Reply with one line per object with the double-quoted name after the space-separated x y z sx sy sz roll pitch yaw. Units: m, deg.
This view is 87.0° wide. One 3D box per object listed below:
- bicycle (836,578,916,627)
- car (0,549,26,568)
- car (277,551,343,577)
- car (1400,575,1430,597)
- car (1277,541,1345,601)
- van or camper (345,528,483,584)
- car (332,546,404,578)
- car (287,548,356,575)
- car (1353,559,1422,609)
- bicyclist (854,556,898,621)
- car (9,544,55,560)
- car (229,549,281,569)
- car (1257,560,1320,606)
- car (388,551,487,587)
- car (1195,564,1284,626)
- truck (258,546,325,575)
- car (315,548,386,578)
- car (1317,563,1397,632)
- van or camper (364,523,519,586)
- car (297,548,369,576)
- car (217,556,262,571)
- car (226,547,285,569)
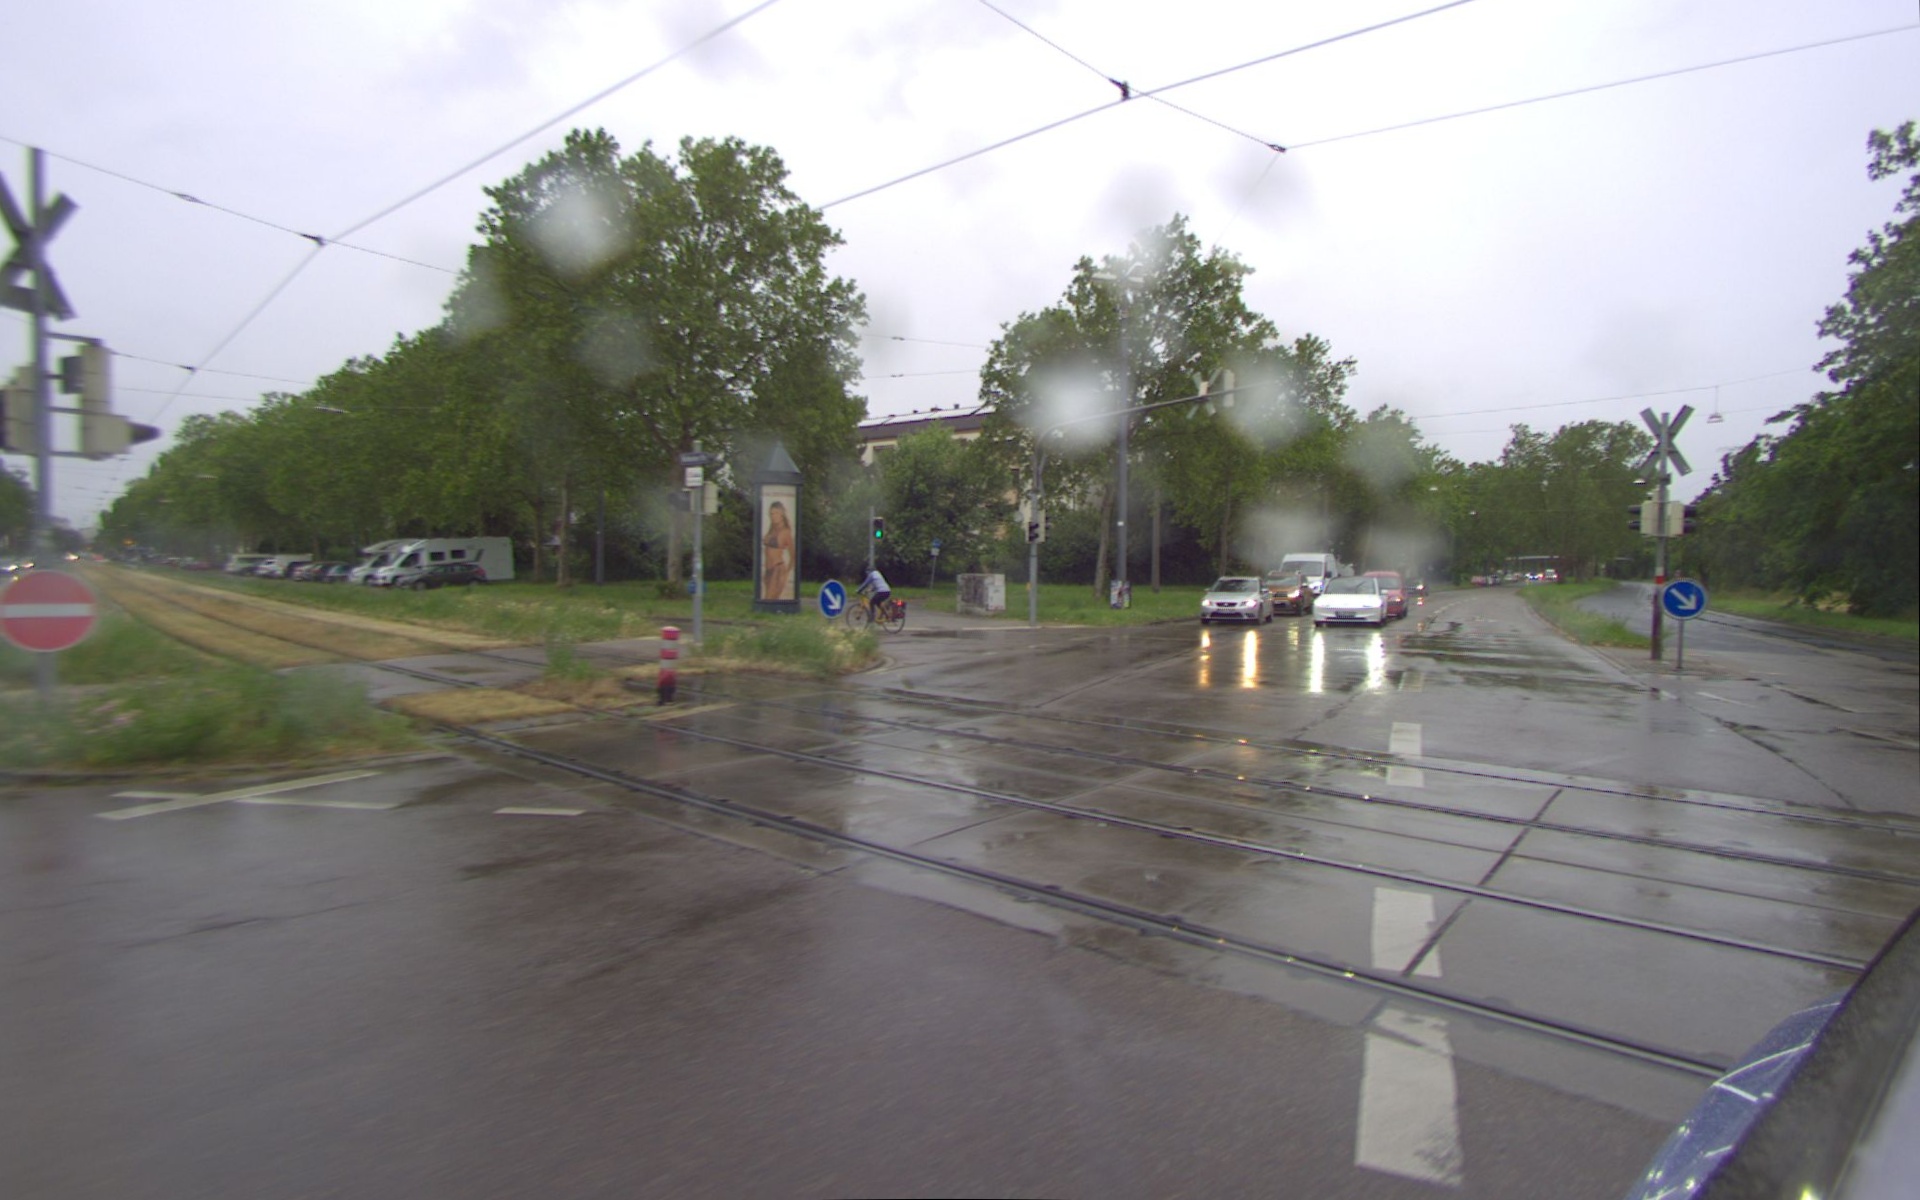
-2.031 0.039 24.508 1.868 1.131 0.686 1 1 29 "bicycle"
-84.039 -3.657 89.270 1.861 1.682 4.000 1 1 -35 "car"
-55.162 -3.065 85.915 4.648 2.039 2.430 0 1 -36 "car"
35.009 -1.075 77.867 1.980 1.660 3.965 2 1 26 "car"
15.382 -1.224 44.120 1.981 2.422 5.568 2 1 28 "car"
-34.615 -2.729 64.246 7.311 3.218 3.262 0 1 -37 "van or camper"
-40.488 -2.573 69.217 4.106 2.039 2.187 1 1 -34 "car"
-51.871 -3.072 82.253 4.646 2.039 2.431 1 1 -34 "car"
14.975 -0.561 35.337 1.775 1.627 4.573 2 1 28 "car"
-2.031 -0.283 24.505 0.836 1.525 0.686 1 1 28 "bicyclist"
-120.917 -6.251 131.857 1.980 1.855 3.964 2 1 26 "car"
-68.596 -3.990 98.472 3.934 1.805 1.877 0 1 -44 "car"
12.452 -0.631 38.207 1.772 1.627 4.034 2 1 25 "car"
-27.689 -1.627 53.702 4.377 1.738 1.999 0 1 -38 "car"
8.638 -0.170 31.027 1.914 1.712 4.370 2 1 25 "car"
-58.017 -3.396 87.884 4.652 2.367 2.428 0 1 -39 "truck"
-43.112 -2.598 71.596 4.229 1.969 1.968 1 1 -34 "car"
11.725 -0.100 29.732 1.914 1.851 4.570 2 1 25 "car"
-29.206 -2.476 57.123 7.218 3.218 3.258 0 1 -41 "van or camper"
-48.172 -2.910 77.743 4.646 2.039 2.431 1 1 -34 "car"
-80.838 -4.088 113.578 3.930 1.612 1.697 0 1 -41 "car"
-70.261 -4.204 100.894 4.573 2.039 2.039 0 1 -44 "car"
